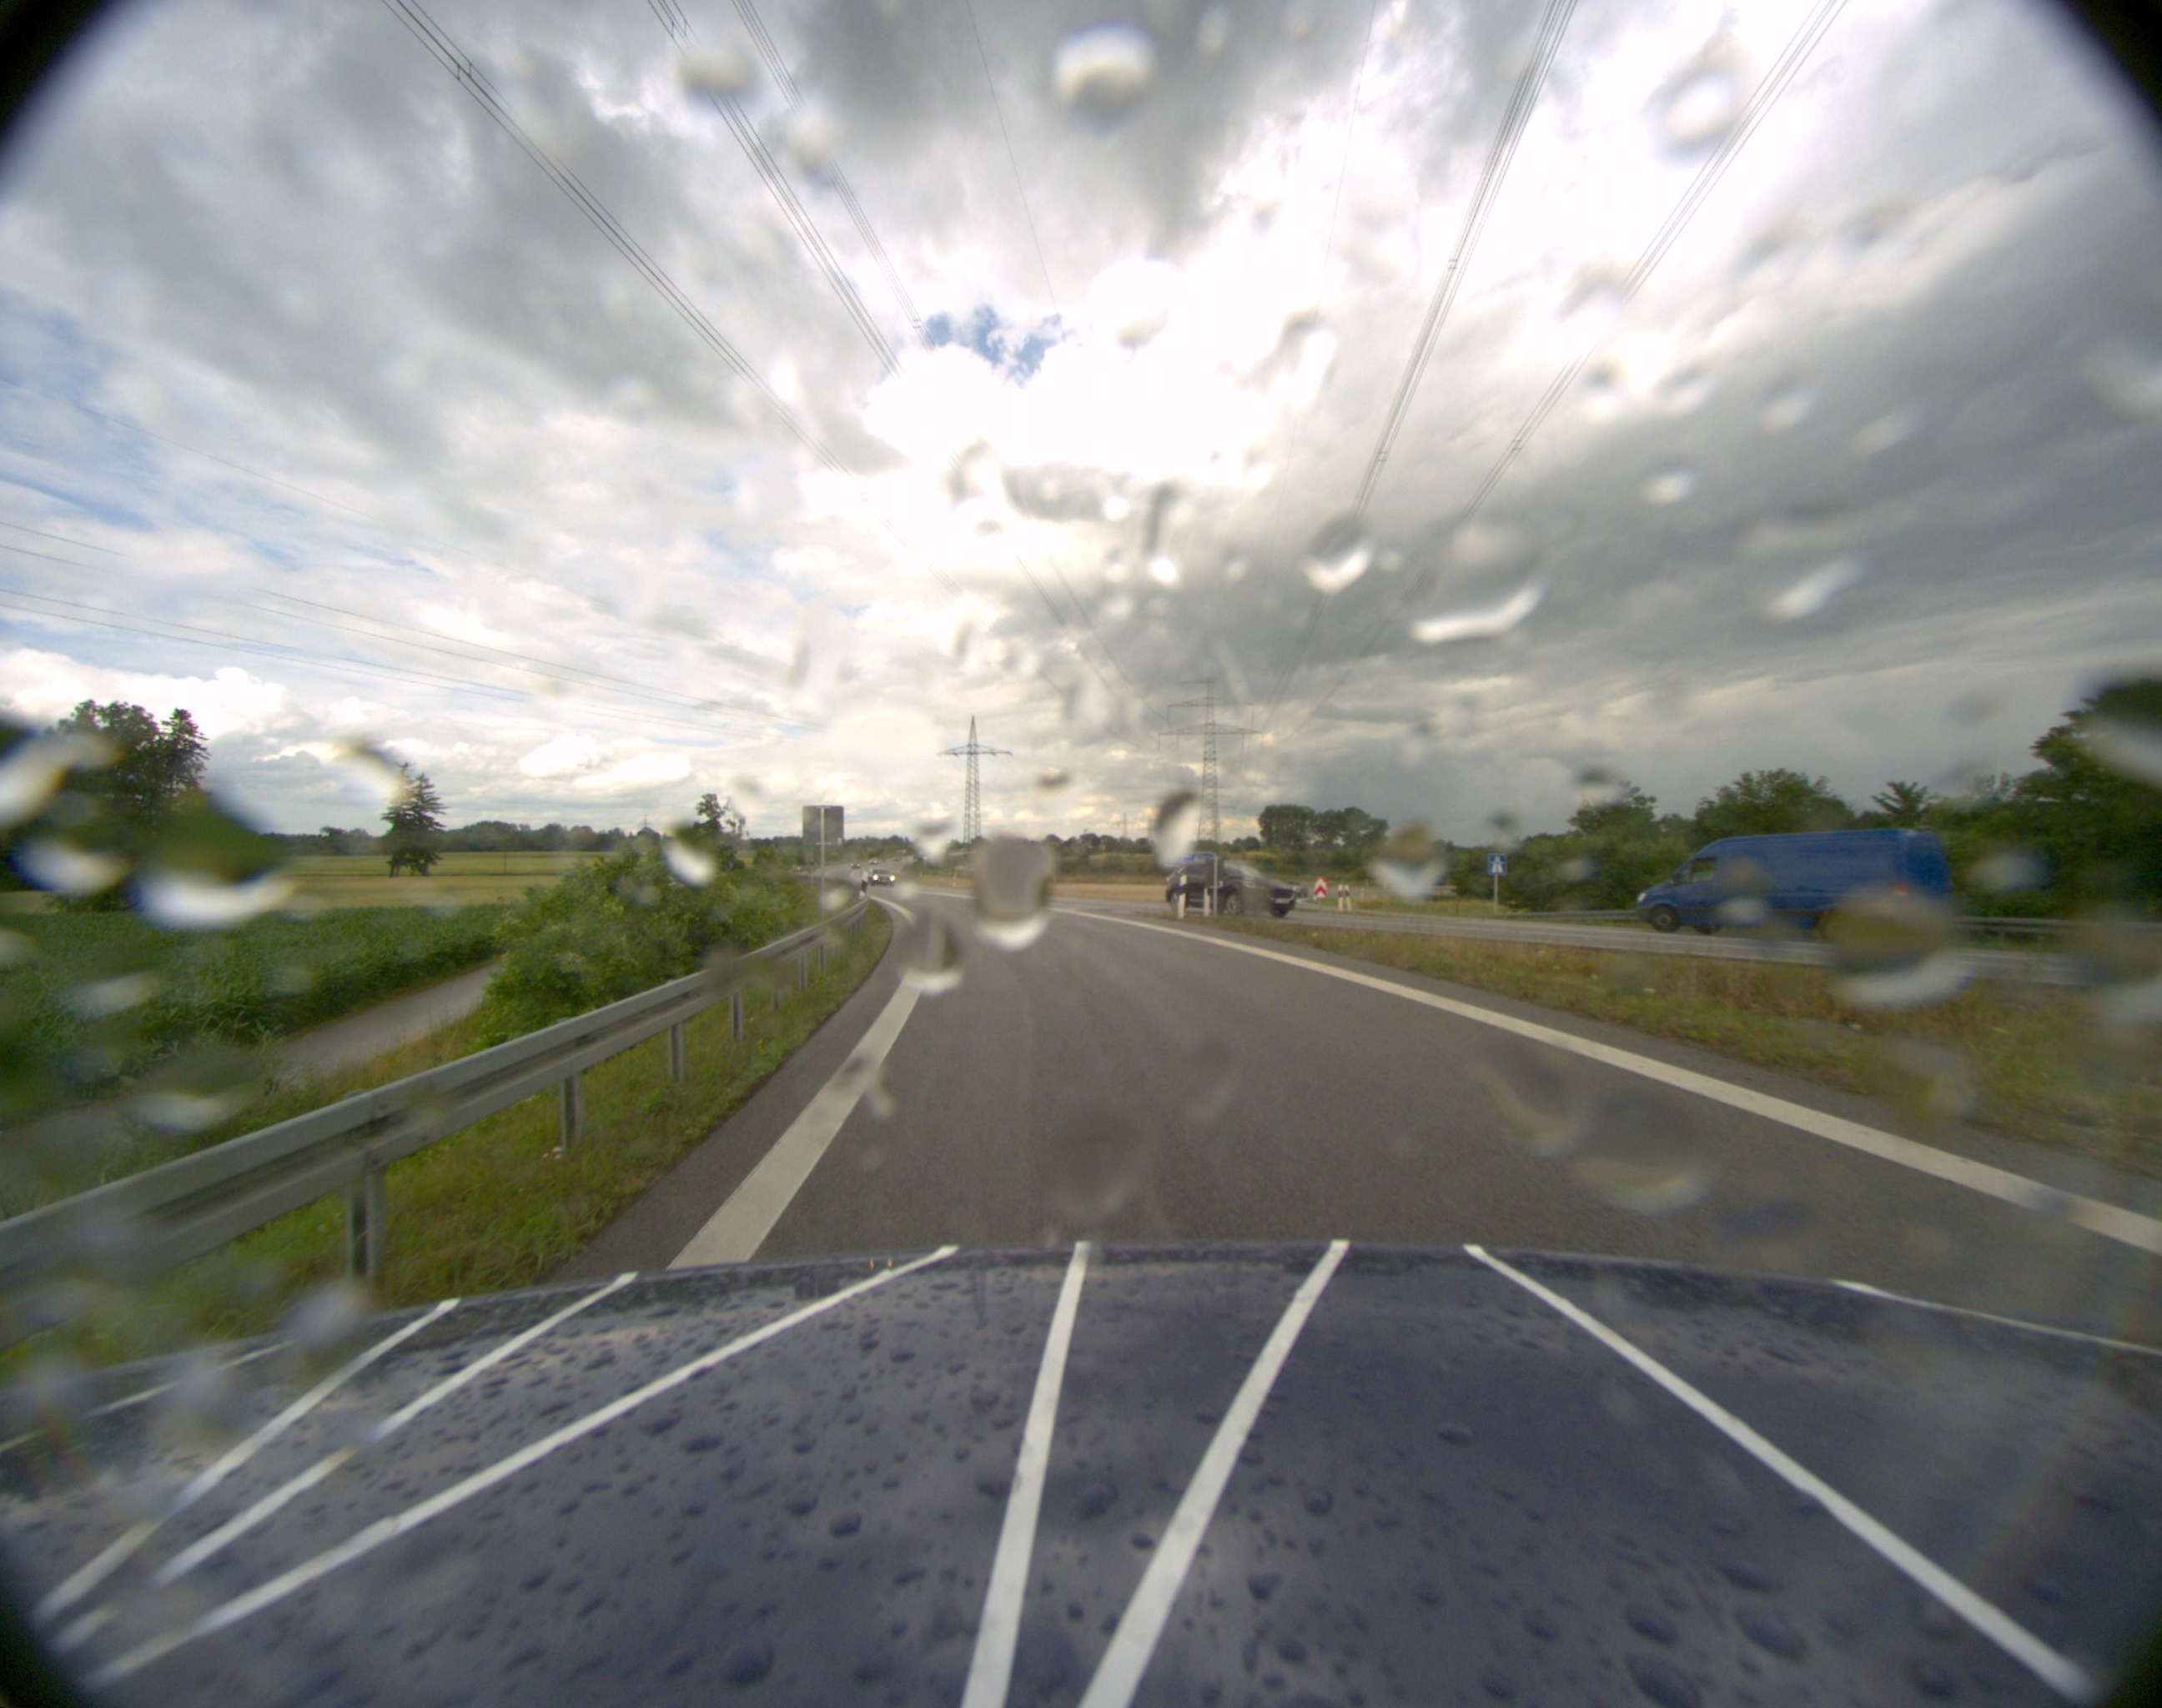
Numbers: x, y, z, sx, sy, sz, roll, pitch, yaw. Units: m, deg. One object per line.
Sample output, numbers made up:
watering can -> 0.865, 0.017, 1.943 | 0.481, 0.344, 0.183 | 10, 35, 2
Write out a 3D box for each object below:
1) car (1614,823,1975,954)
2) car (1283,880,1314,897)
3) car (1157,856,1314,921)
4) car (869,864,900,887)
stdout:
car -> 17.680, 0.793, 19.457 | 2.337, 2.709, 6.272 | 5, -2, -21
car -> 19.804, 3.134, 69.217 | 1.736, 1.430, 3.781 | 2, 0, 31
car -> 4.419, 0.917, 22.477 | 2.003, 1.709, 4.583 | 1, 0, -31
car -> -15.909, 1.726, 61.352 | 2.002, 1.742, 3.993 | -2, 0, -20
